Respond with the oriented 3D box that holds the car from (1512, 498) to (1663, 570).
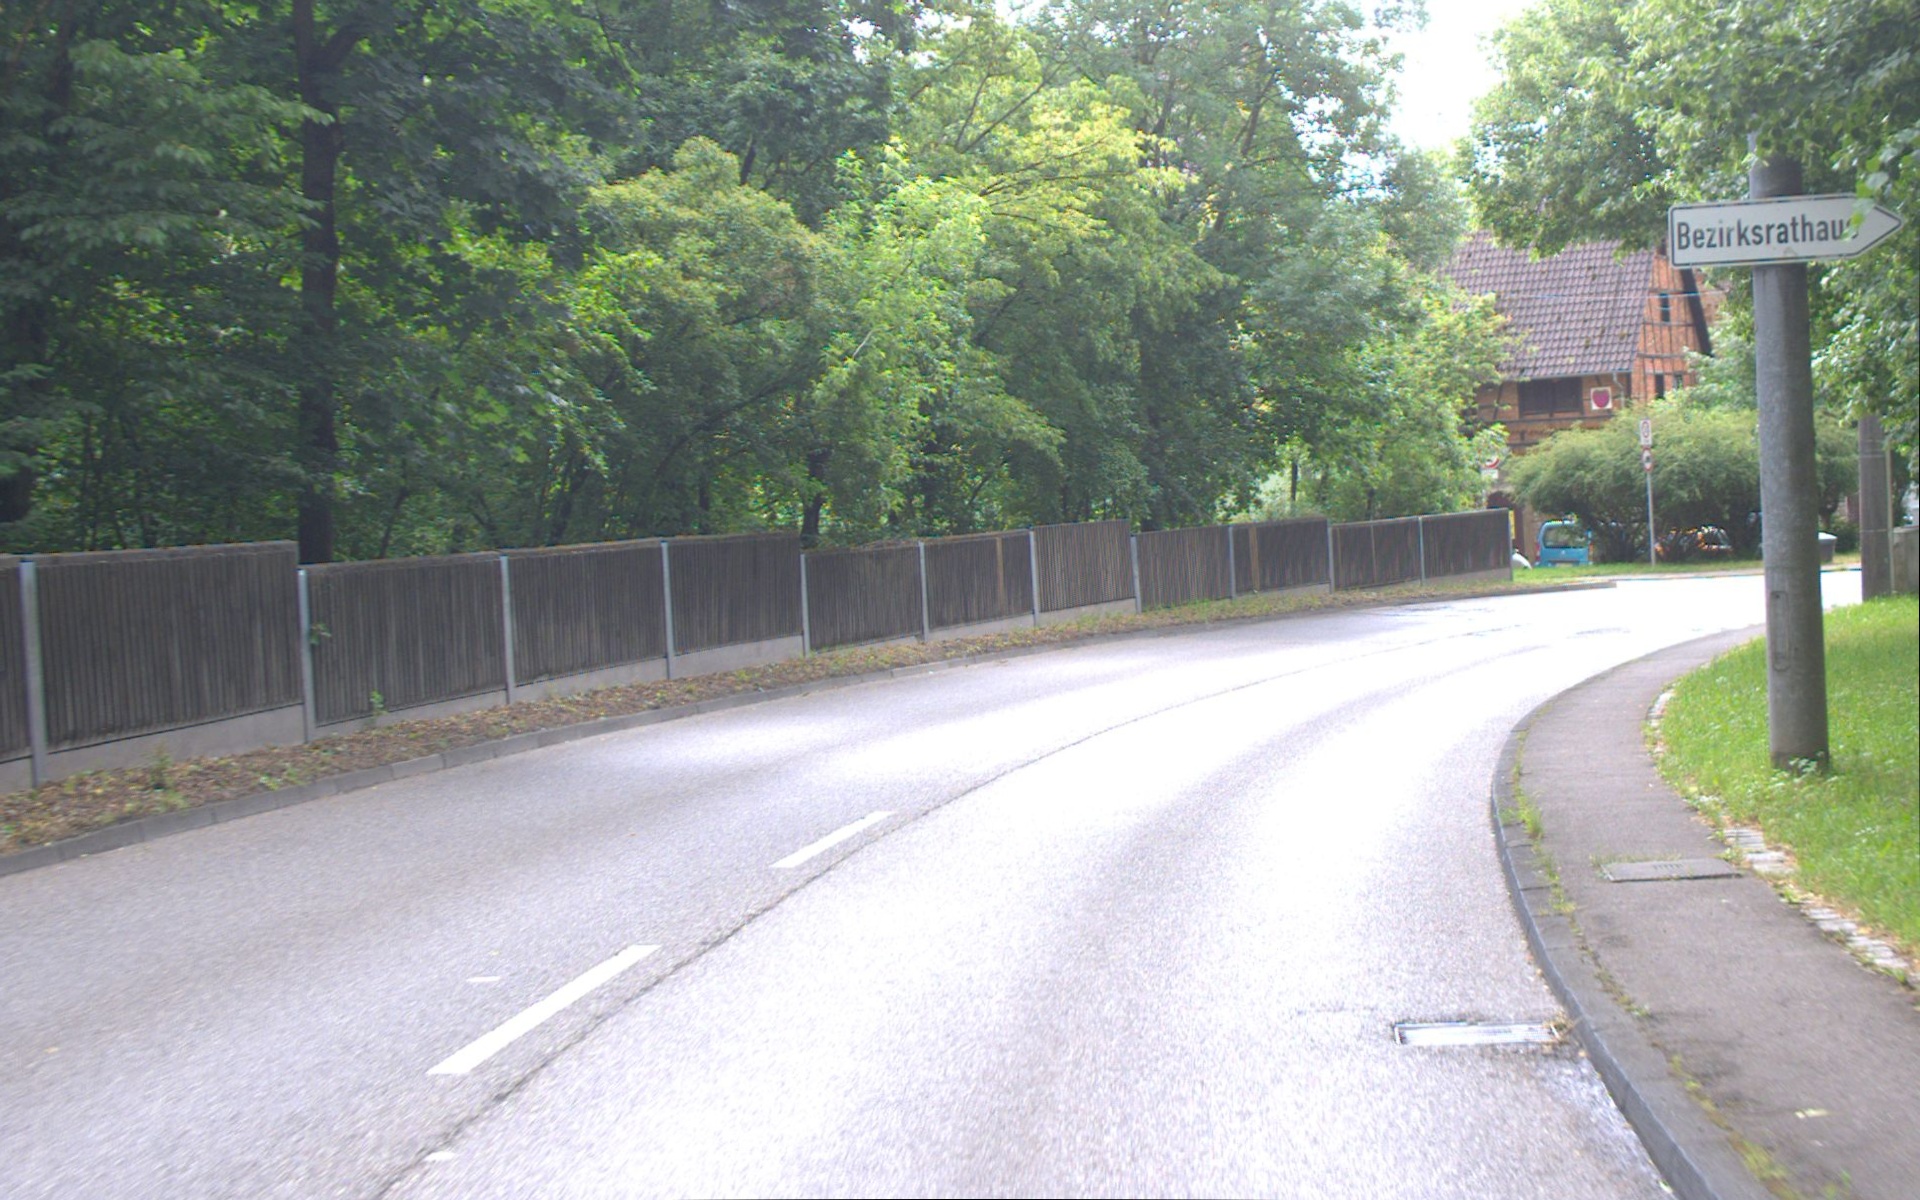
[{"bbox_3d":[16.336,-1.737,89.382,1.997,1.612,4.439,-4,0,37],"label":"car"}]
